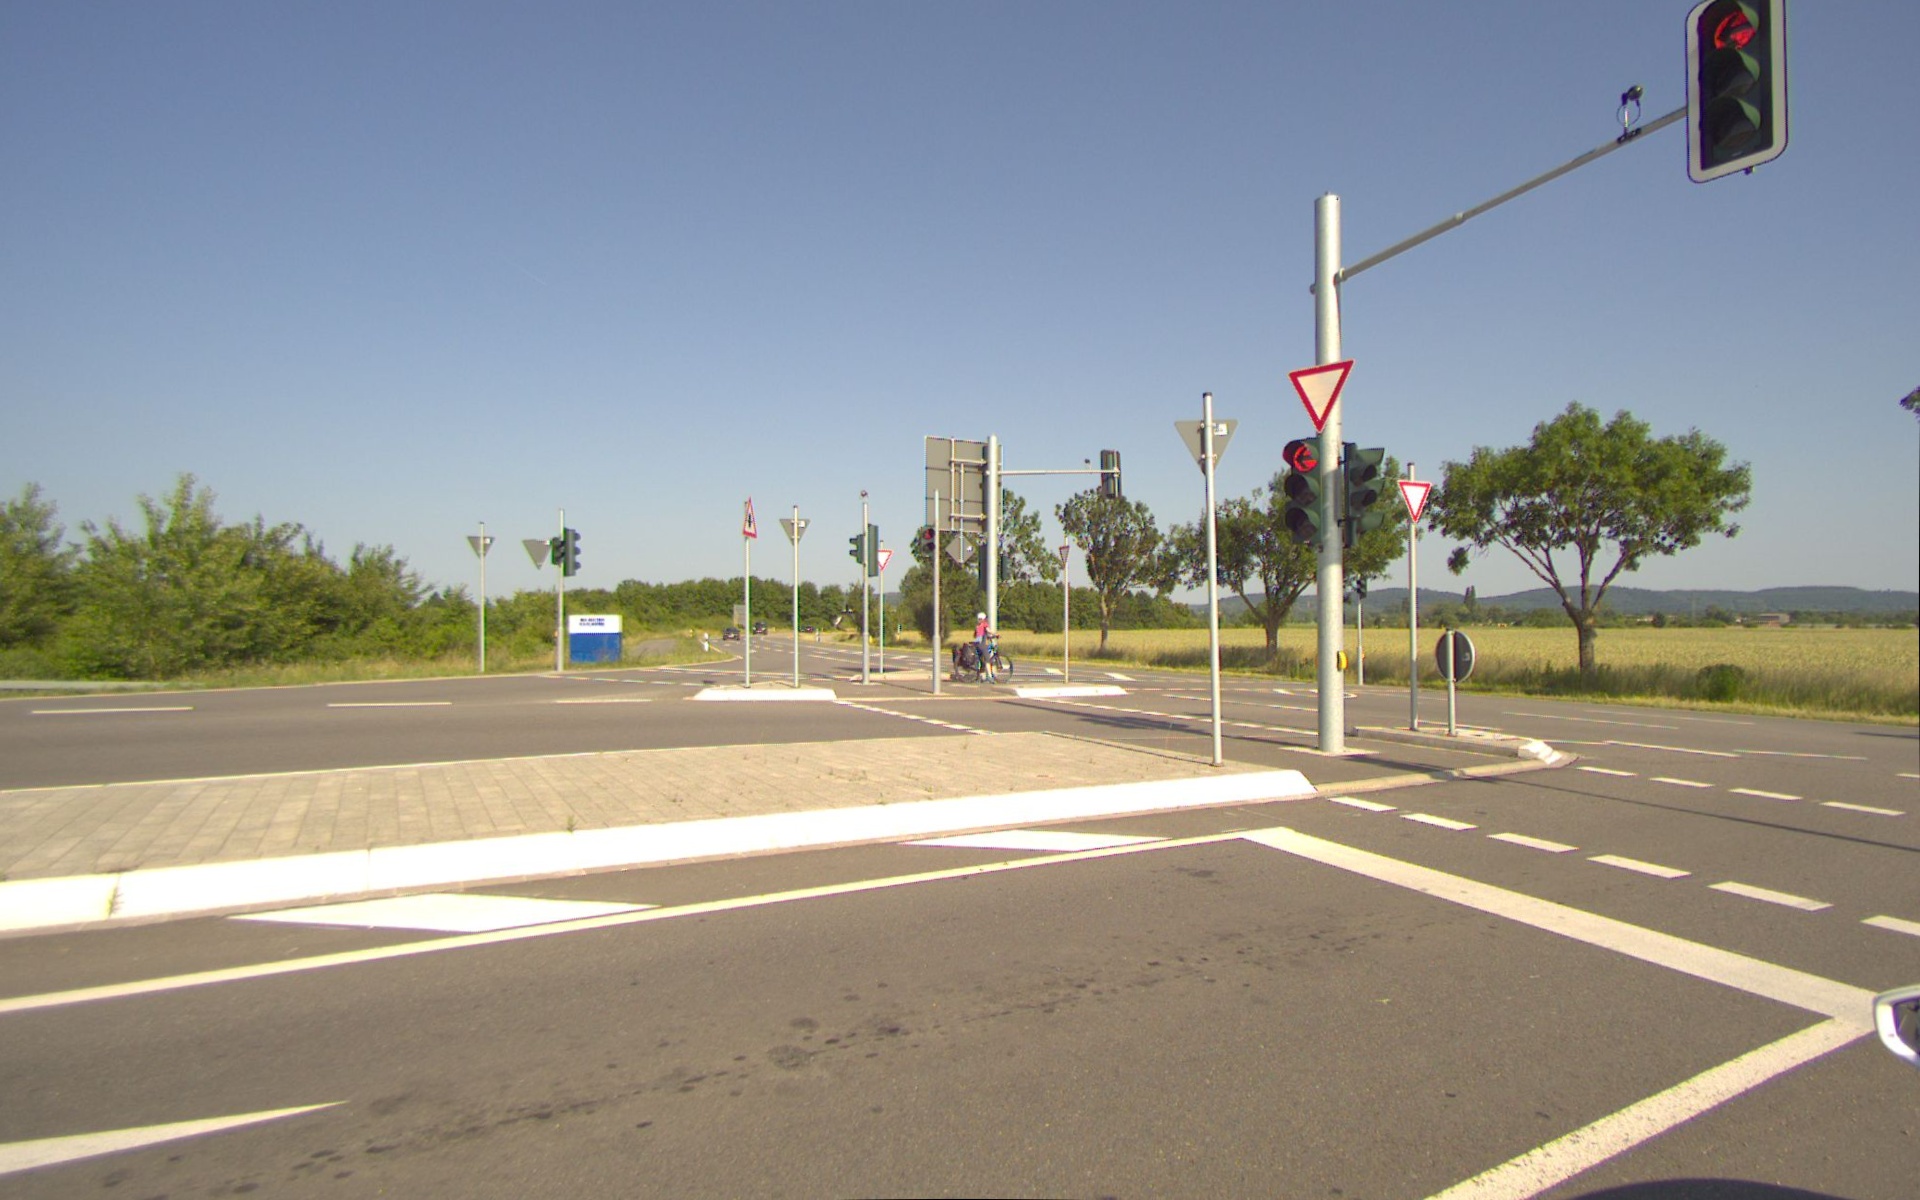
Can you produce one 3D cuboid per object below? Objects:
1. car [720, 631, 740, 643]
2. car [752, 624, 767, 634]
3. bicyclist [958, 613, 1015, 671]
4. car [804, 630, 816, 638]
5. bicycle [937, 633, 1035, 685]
[{"bbox_3d":[-23.806,3.841,103.991,1.708,1.127,3.995,2,-2,-8],"label":"car"},{"bbox_3d":[-31.672,4.627,158.671,1.828,1.562,3.997,1,-2,-6],"label":"car"},{"bbox_3d":[0.644,1.011,24.390,1.062,1.369,0.851,2,-1,-31],"label":"bicyclist"},{"bbox_3d":[-30.239,6.846,202.862,1.695,1.544,3.470,2,-1,2],"label":"car"},{"bbox_3d":[0.631,1.433,24.320,2.126,1.164,1.065,3,-1,-31],"label":"bicycle"}]
